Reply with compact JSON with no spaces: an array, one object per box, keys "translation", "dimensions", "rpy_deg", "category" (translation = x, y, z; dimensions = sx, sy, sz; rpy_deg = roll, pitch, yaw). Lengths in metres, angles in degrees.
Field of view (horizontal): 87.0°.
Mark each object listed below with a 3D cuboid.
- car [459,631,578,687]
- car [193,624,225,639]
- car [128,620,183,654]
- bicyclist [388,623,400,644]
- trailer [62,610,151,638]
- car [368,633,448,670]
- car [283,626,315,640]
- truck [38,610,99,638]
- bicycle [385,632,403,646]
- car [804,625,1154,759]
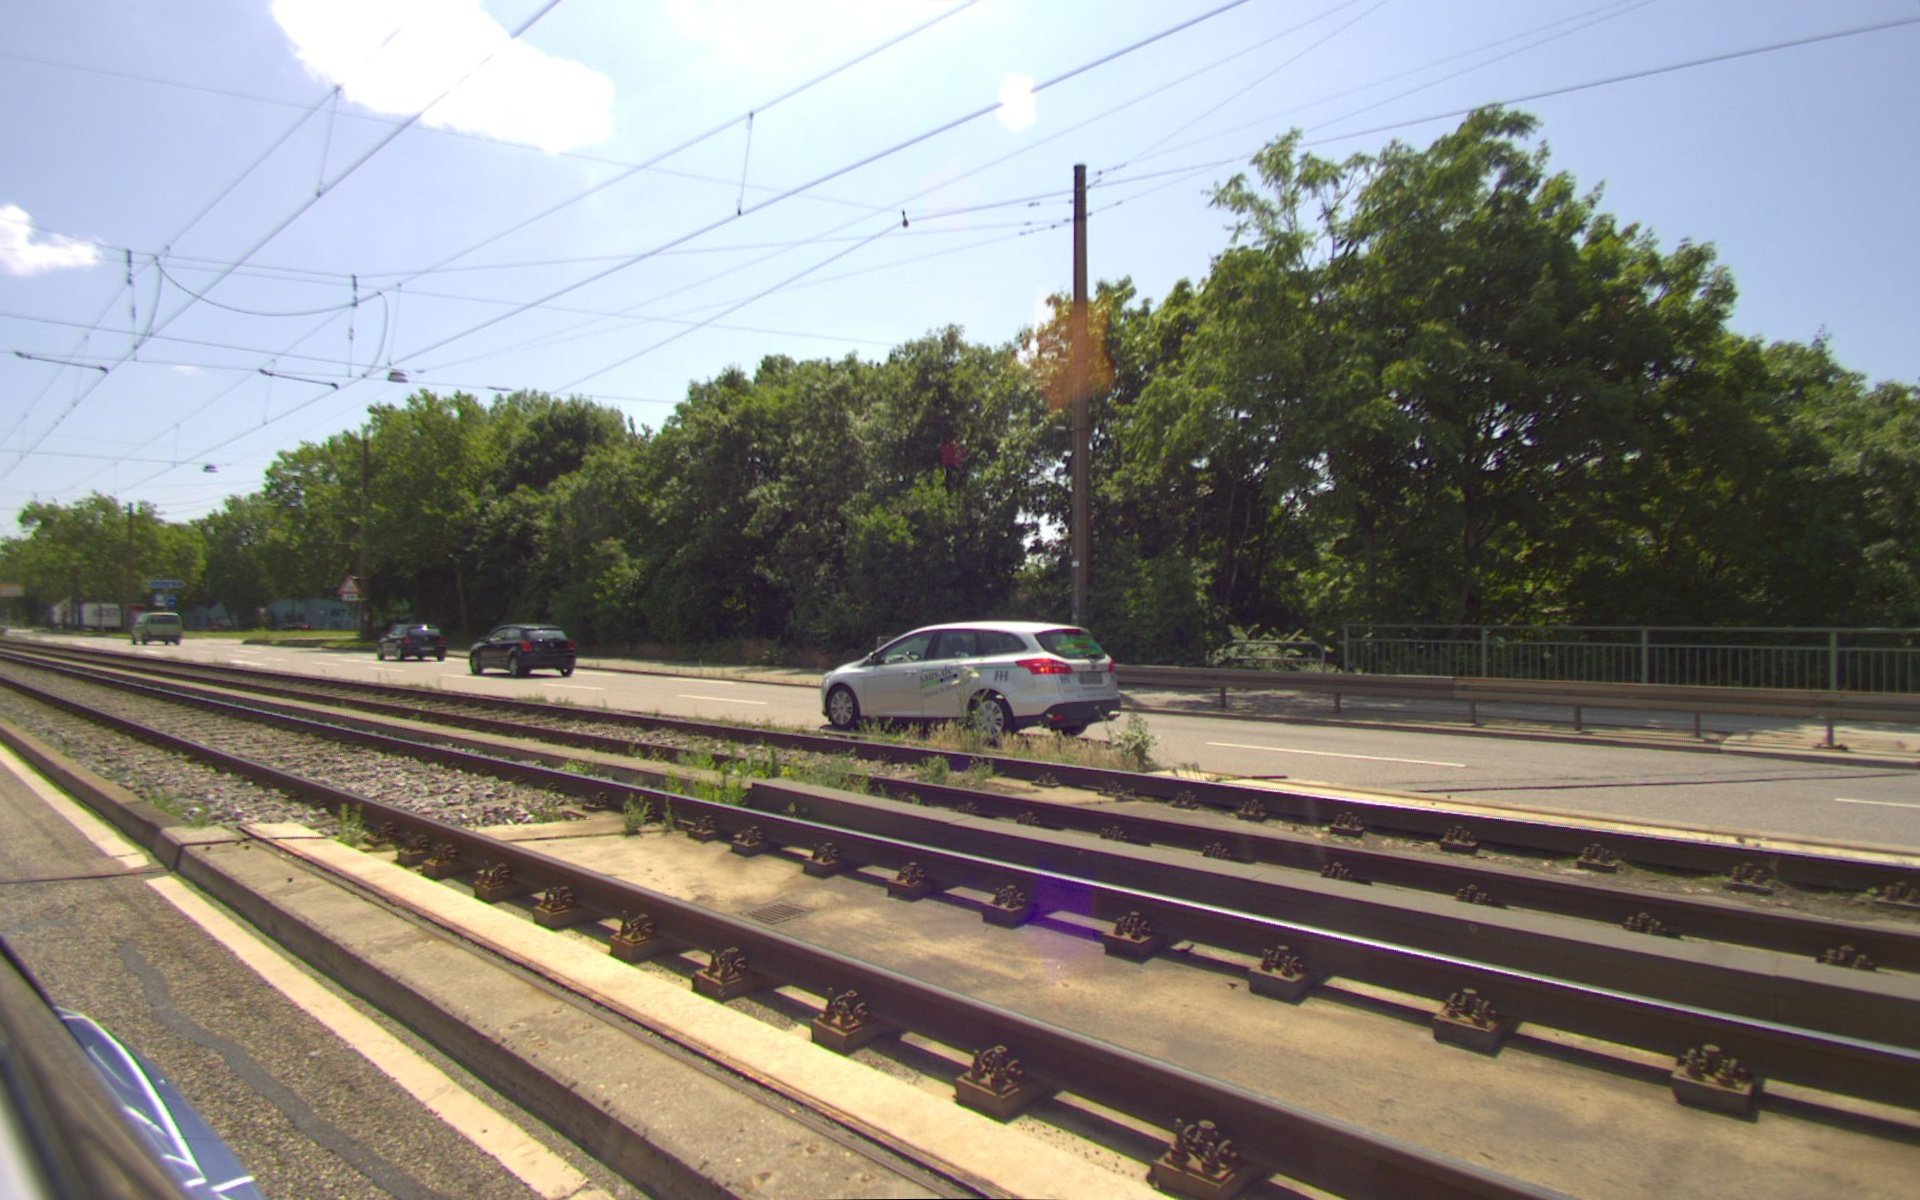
[{"translation":[-12.499,1.623,28.544],"dimensions":[3.936,1.411,1.557],"rpy_deg":[-1,-1,42],"category":"car"},{"translation":[-96.368,4.047,129.915],"dimensions":[3.369,1.805,1.557],"rpy_deg":[-1,-2,16],"category":"car"},{"translation":[-48.894,2.217,61.471],"dimensions":[5.178,1.940,1.792],"rpy_deg":[-1,-2,42],"category":"car"},{"translation":[-38.012,2.219,67.940],"dimensions":[0.562,1.378,0.632],"rpy_deg":[-1,1,-45],"category":"bicyclist"},{"translation":[-115.306,3.274,136.693],"dimensions":[12.011,3.683,3.368],"rpy_deg":[-1,-2,19],"category":"trailer"},{"translation":[-21.727,1.993,39.757],"dimensions":[3.928,1.357,1.546],"rpy_deg":[-1,-2,42],"category":"car"},{"translation":[-82.159,4.108,125.839],"dimensions":[3.369,1.805,1.557],"rpy_deg":[-1,-2,16],"category":"car"},{"translation":[-122.508,3.289,139.117],"dimensions":[6.706,3.730,3.397],"rpy_deg":[-1,-2,19],"category":"truck"},{"translation":[-37.957,2.613,67.892],"dimensions":[0.579,0.825,2.070],"rpy_deg":[-2,1,-43],"category":"bicycle"},{"translation":[0.097,1.063,13.290],"dimensions":[4.623,1.431,1.693],"rpy_deg":[-1,-2,42],"category":"car"}]
